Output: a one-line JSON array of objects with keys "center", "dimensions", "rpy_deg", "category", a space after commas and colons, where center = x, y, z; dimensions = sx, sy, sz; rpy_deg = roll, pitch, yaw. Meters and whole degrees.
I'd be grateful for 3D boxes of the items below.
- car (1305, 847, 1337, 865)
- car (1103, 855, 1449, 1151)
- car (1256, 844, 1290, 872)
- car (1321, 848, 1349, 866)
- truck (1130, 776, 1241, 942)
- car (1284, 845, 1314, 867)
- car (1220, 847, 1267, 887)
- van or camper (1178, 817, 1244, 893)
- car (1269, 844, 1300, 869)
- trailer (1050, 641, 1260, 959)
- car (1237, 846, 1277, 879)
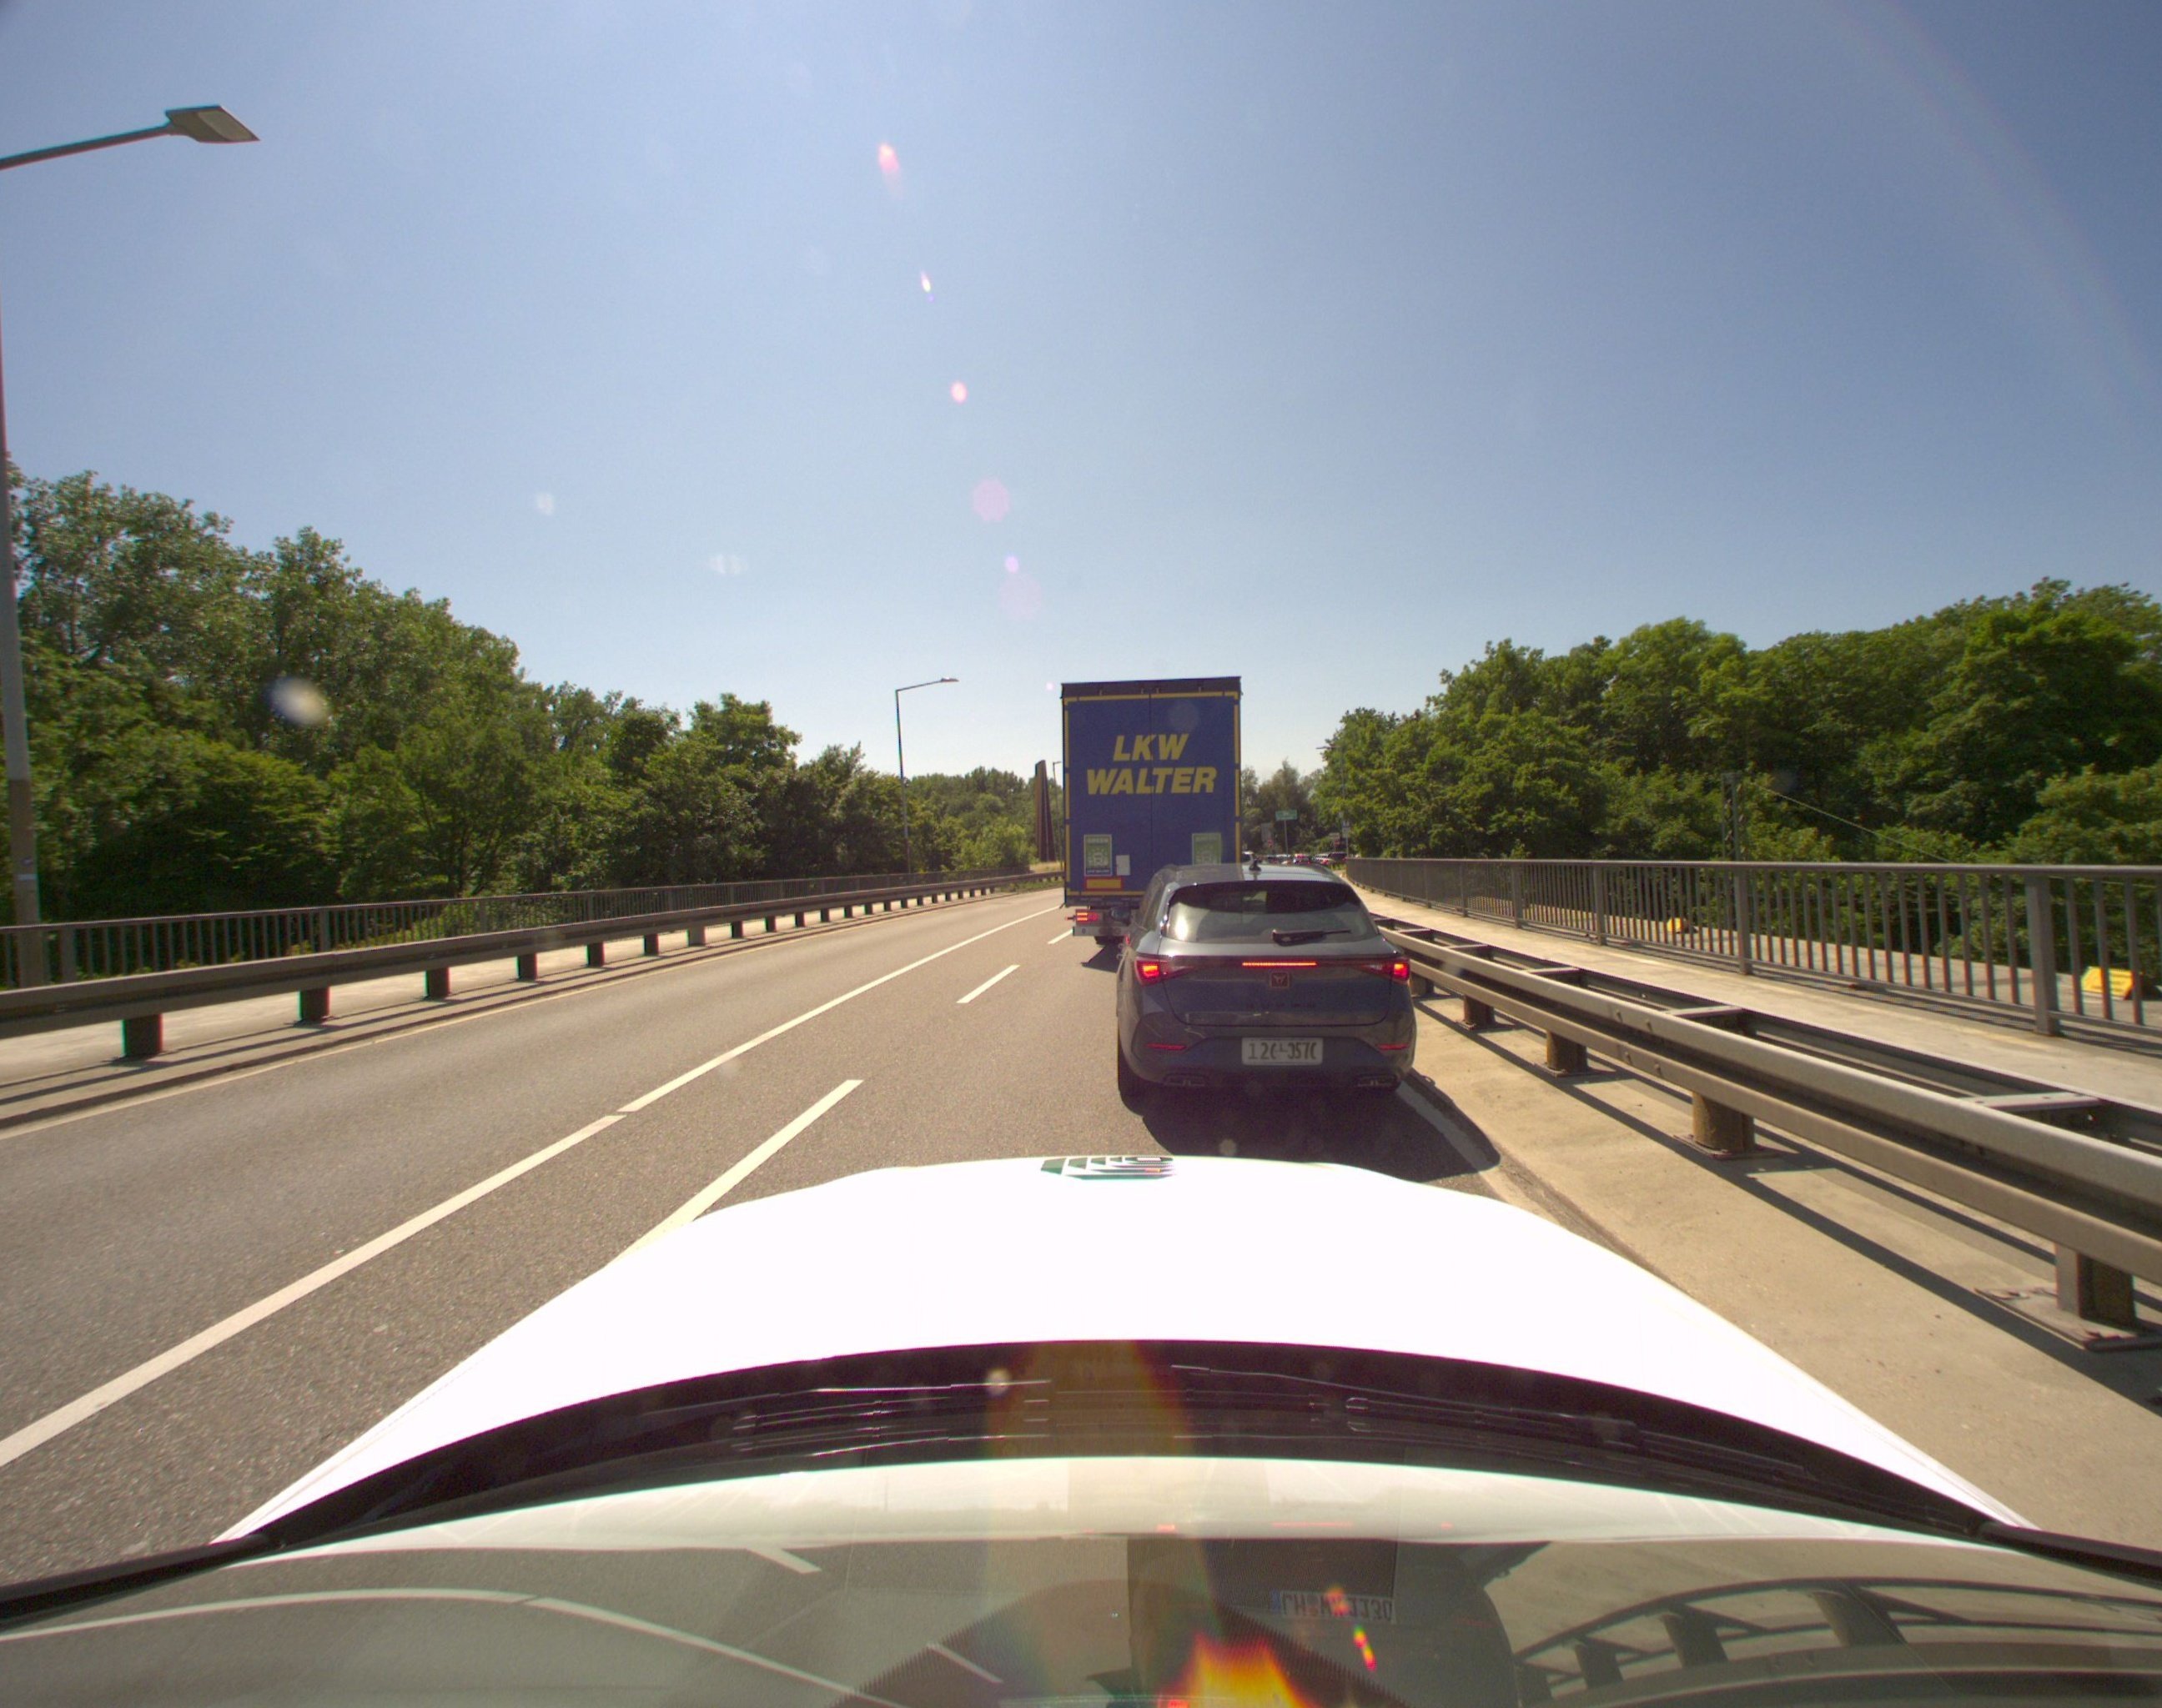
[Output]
[{"center": [21.820, 0.208, 74.053], "dimensions": [1.975, 1.575, 4.024], "rpy_deg": [0, -1, 28], "category": "car"}, {"center": [1.110, 0.758, 6.043], "dimensions": [1.669, 1.456, 3.963], "rpy_deg": [-1, 0, 4], "category": "car"}, {"center": [13.036, 0.243, 55.140], "dimensions": [1.706, 1.844, 4.021], "rpy_deg": [-1, 0, 21], "category": "car"}, {"center": [24.971, 0.286, 79.937], "dimensions": [1.669, 1.760, 4.025], "rpy_deg": [-2, -1, 30], "category": "car"}, {"center": [3.342, 0.144, 25.108], "dimensions": [2.887, 4.418, 6.573], "rpy_deg": [-1, 0, 10], "category": "truck"}, {"center": [18.220, 0.207, 67.883], "dimensions": [1.670, 1.760, 4.023], "rpy_deg": [-1, -1, 25], "category": "car"}, {"center": [8.232, 0.601, 40.940], "dimensions": [1.706, 1.844, 4.020], "rpy_deg": [-1, 0, 20], "category": "car"}, {"center": [5.494, 0.022, 33.630], "dimensions": [2.139, 2.815, 6.411], "rpy_deg": [-1, 0, 14], "category": "van or camper"}, {"center": [15.353, 0.174, 61.297], "dimensions": [1.706, 1.844, 4.021], "rpy_deg": [-1, 0, 21], "category": "car"}, {"center": [2.056, -0.743, 17.660], "dimensions": [2.887, 4.418, 12.466], "rpy_deg": [-1, 0, 10], "category": "trailer"}, {"center": [10.261, 0.483, 47.215], "dimensions": [1.706, 1.802, 4.020], "rpy_deg": [-1, 0, 20], "category": "car"}]
